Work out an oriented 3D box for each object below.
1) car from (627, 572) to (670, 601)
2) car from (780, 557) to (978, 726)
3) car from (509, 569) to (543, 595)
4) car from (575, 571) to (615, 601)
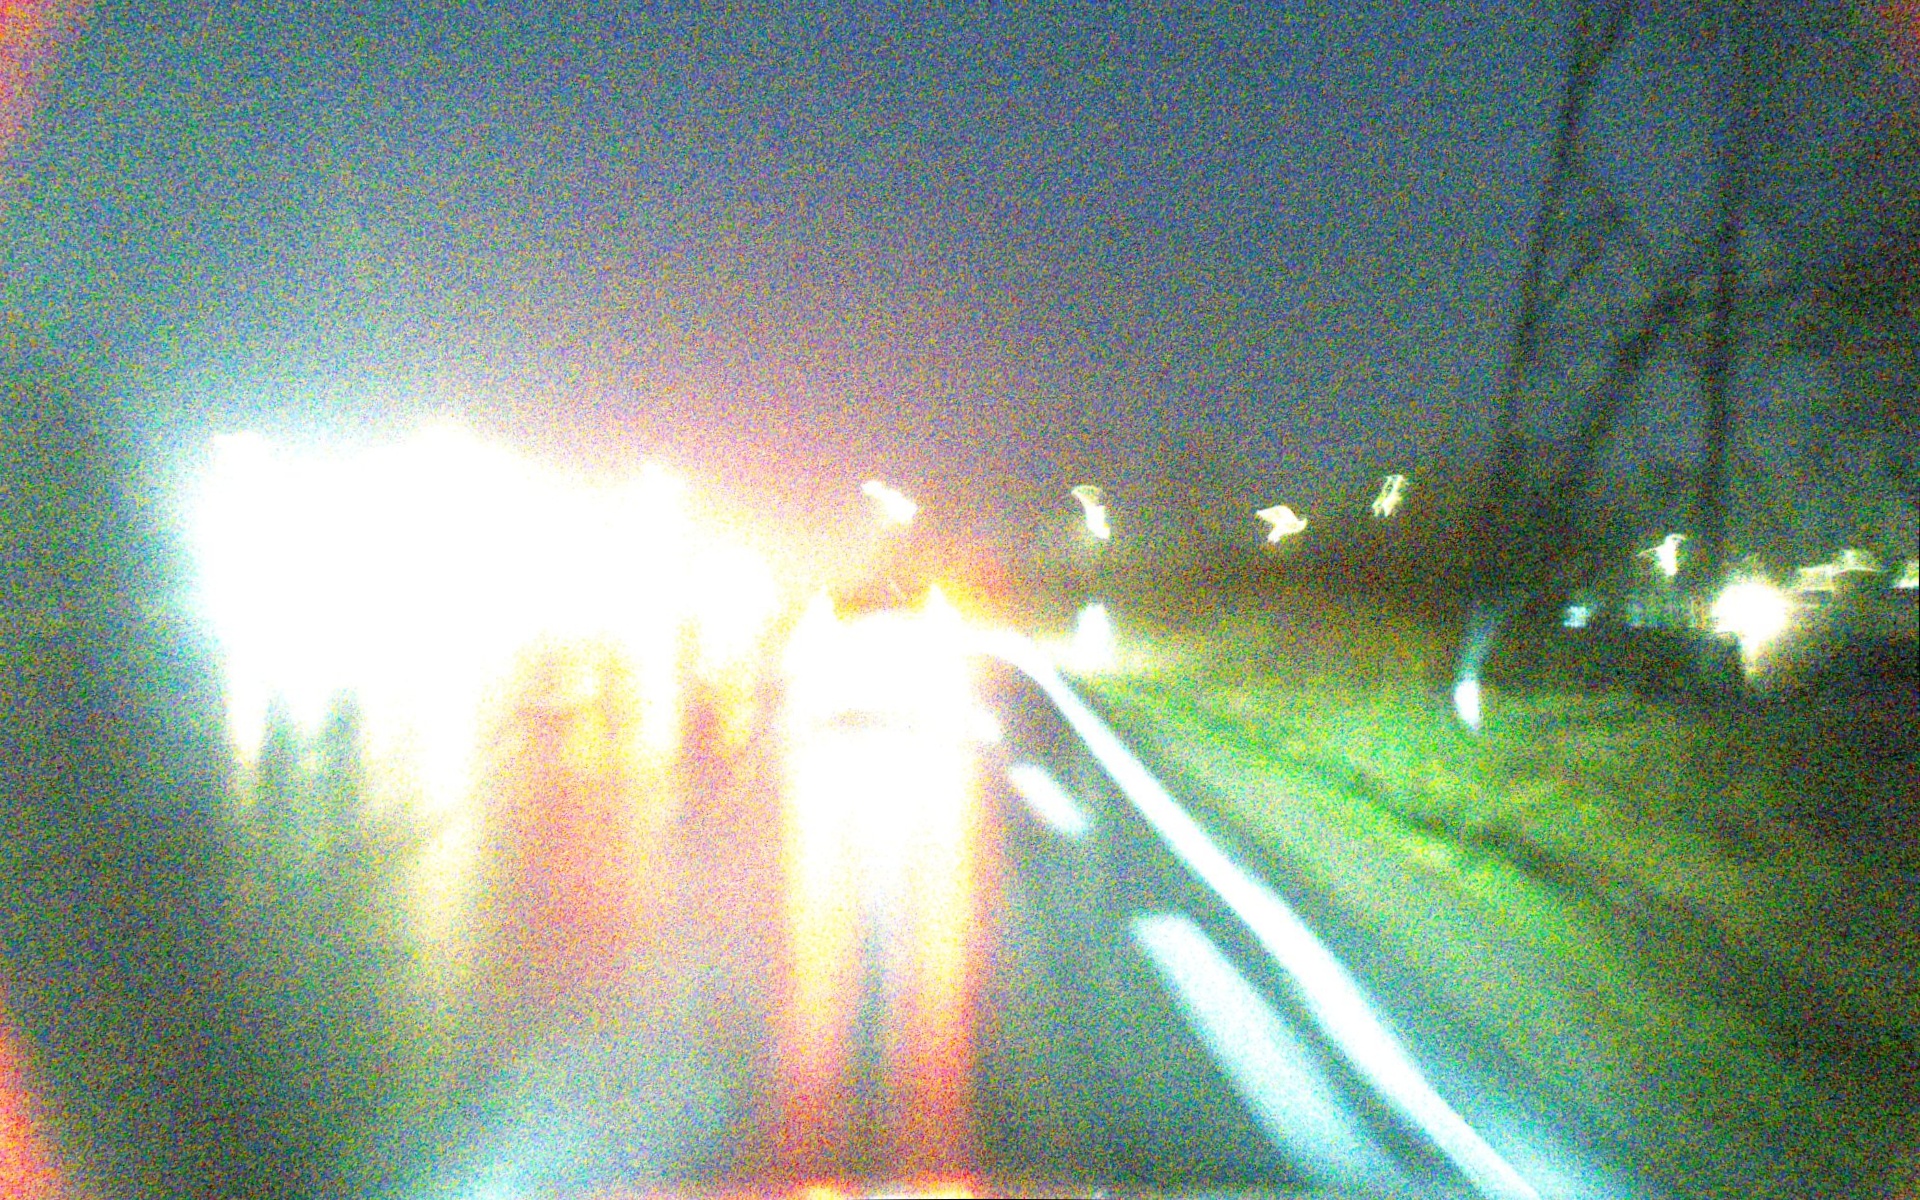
[{"bbox_3d":[-19.179,-0.874,101.774,1.963,1.656,4.960,-2,2,-18],"label":"car"},{"bbox_3d":[-0.870,0.436,18.916,1.953,1.656,4.982,1,-1,-2],"label":"car"},{"bbox_3d":[-29.229,-1.240,111.267,1.963,1.656,4.960,-2,2,-18],"label":"car"},{"bbox_3d":[-22.426,-0.884,101.521,1.963,1.656,4.960,-2,2,-18],"label":"car"}]
